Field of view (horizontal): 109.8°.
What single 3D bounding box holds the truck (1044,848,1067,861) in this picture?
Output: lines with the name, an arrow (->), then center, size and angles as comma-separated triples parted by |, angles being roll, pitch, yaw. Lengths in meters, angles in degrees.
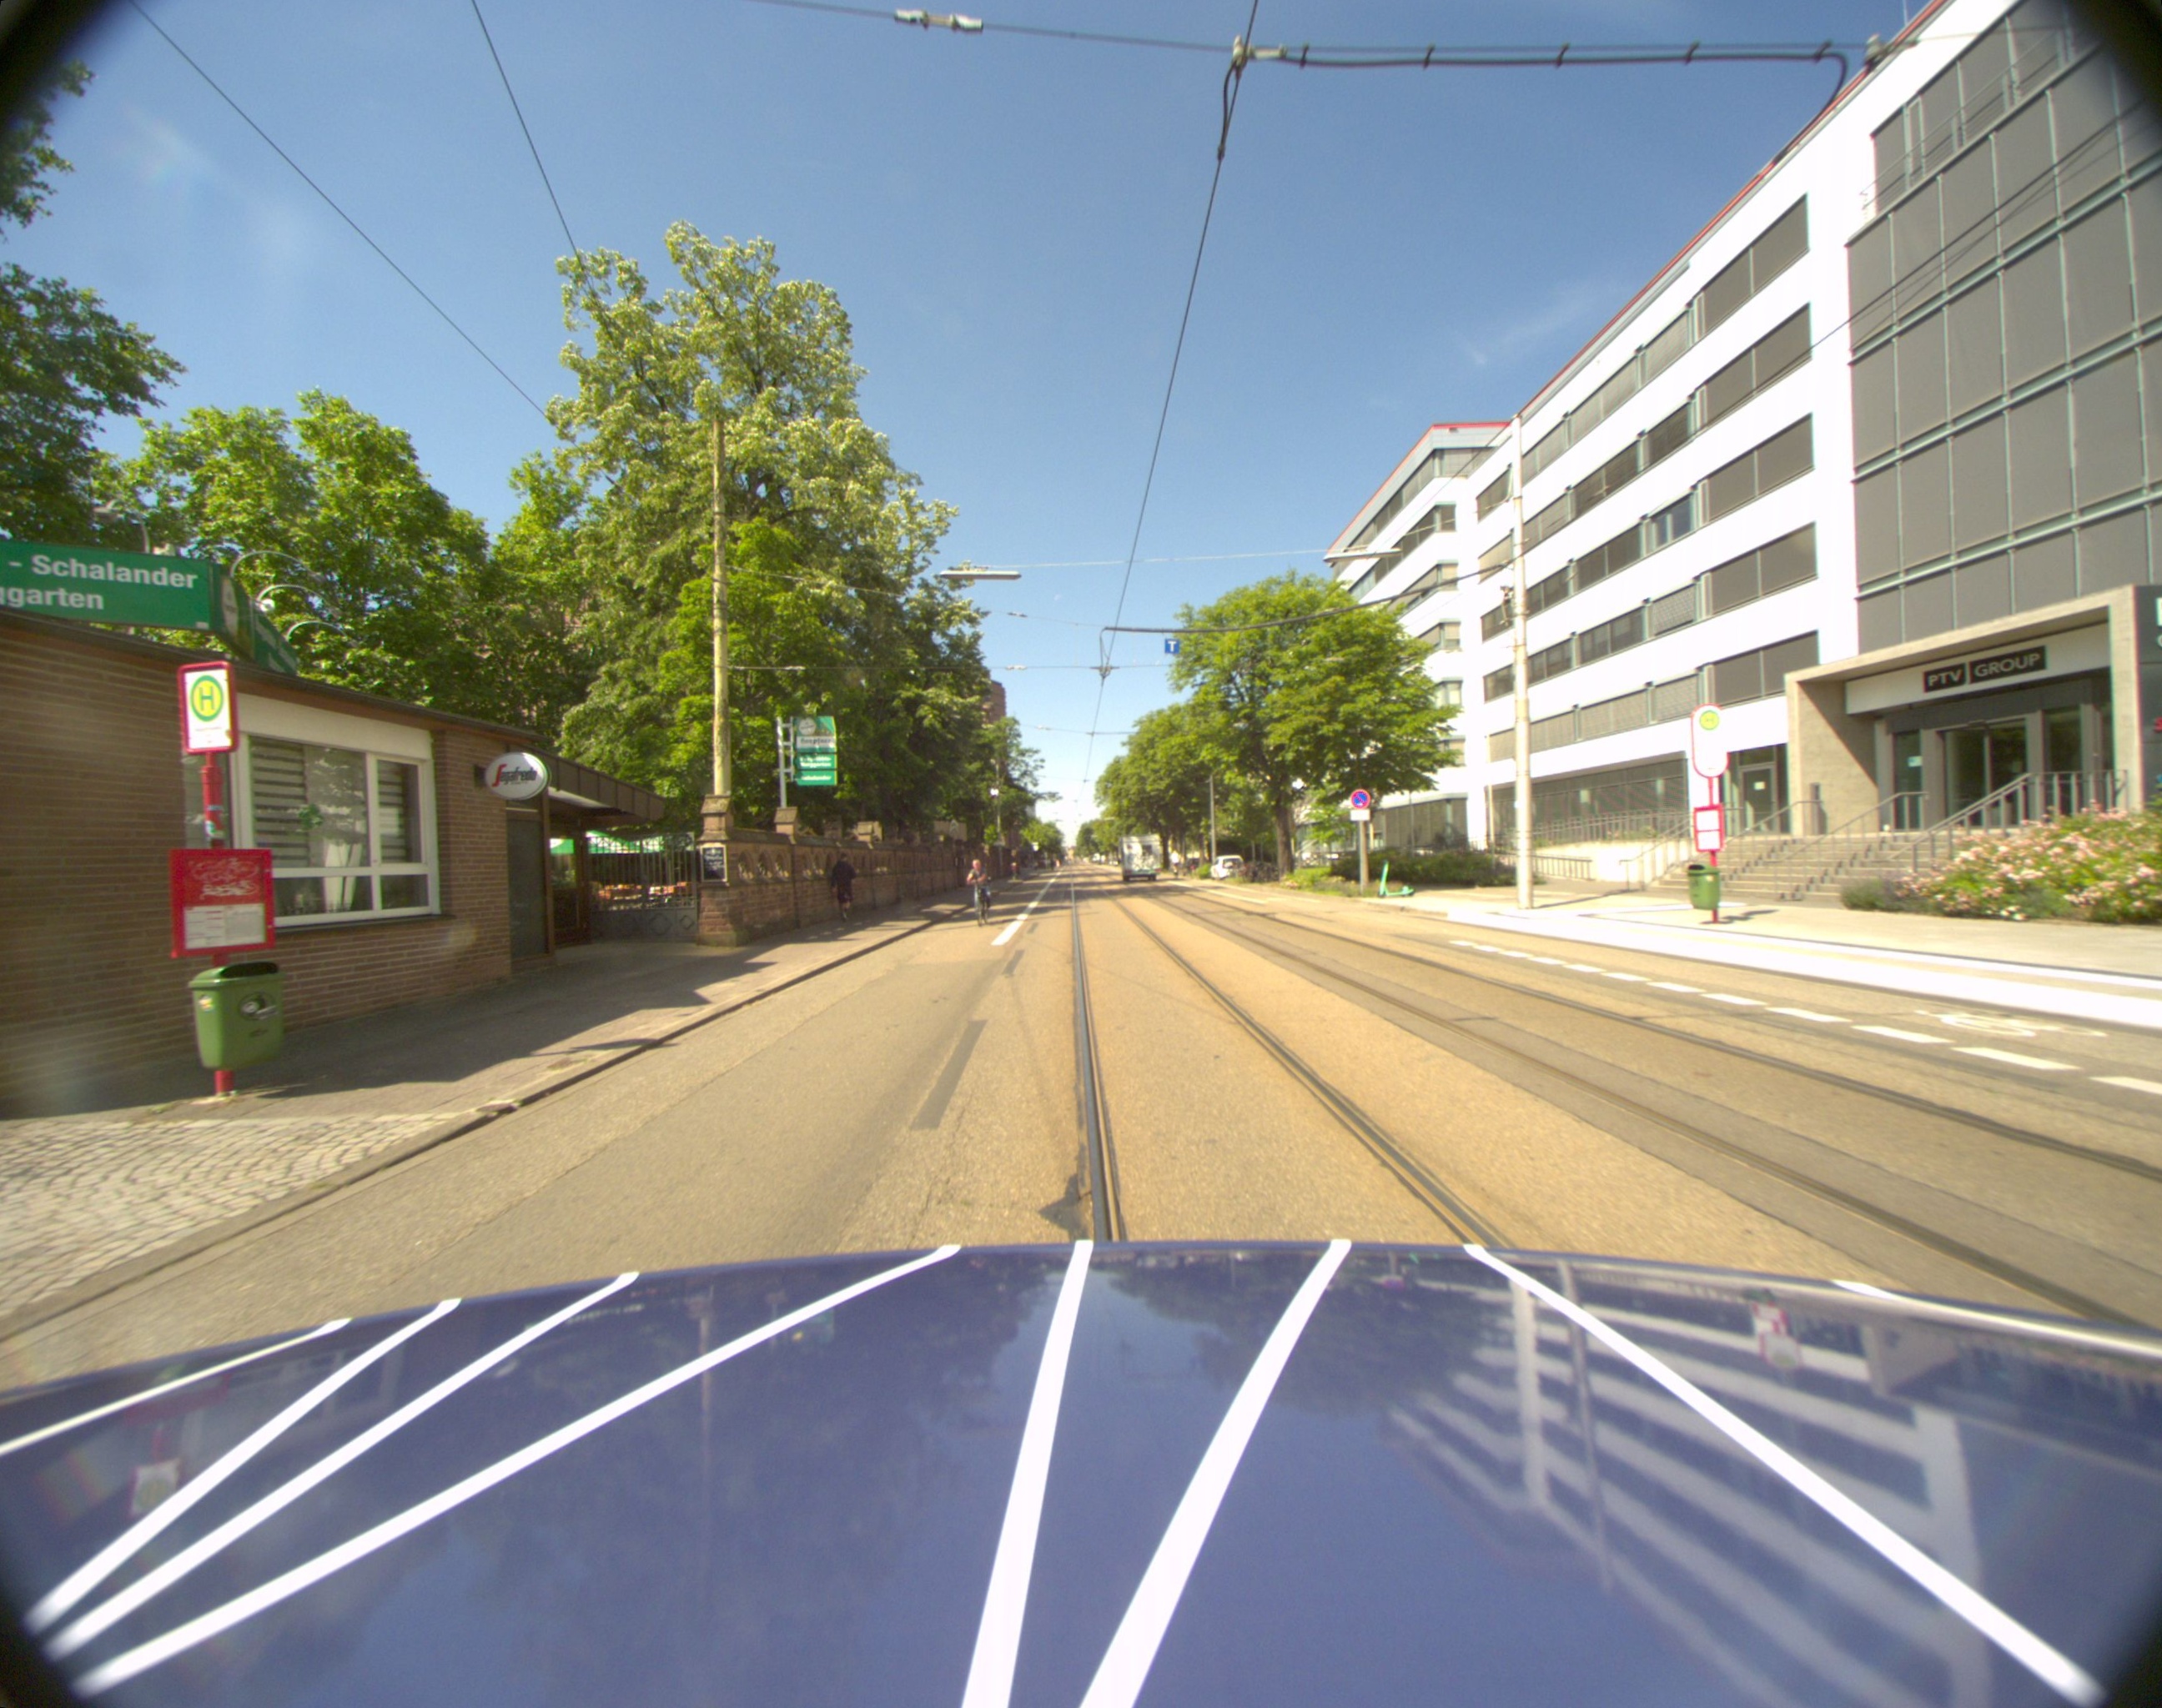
truck -> -7.541, 0.158, 226.450 | 2.816, 3.836, 10.015 | -2, 0, 22

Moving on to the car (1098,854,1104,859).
car -> 6.230, 0.791, 234.523 | 1.634, 1.560, 4.113 | -2, 0, 0

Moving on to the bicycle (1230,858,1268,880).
bicycle -> 9.131, 0.807, 41.291 | 1.853, 1.125, 0.680 | -2, 0, -1

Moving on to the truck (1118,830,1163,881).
truck -> 3.869, 0.081, 50.404 | 2.408, 3.090, 6.036 | -2, 0, 0

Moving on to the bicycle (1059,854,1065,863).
bicycle -> -3.673, 0.855, 148.228 | 0.999, 1.734, 3.163 | -4, 0, 0

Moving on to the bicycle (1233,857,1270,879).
bicycle -> 9.132, 0.736, 40.760 | 1.797, 1.080, 0.726 | -2, 0, -1

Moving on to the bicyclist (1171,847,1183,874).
bicyclist -> 6.702, 0.456, 52.950 | 0.637, 1.860, 1.024 | -2, 0, -1

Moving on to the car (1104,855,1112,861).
car -> 6.842, 0.922, 192.620 | 1.634, 1.463, 4.113 | -2, 0, 0

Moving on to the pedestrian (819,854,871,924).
pedestrian -> -6.316, 0.917, 20.420 | 0.979, 1.805, 1.185 | 2, 0, 0

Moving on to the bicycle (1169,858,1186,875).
bicycle -> 6.706, 0.878, 52.946 | 0.858, 1.103, 2.139 | -2, 0, -1

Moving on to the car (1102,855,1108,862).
car -> 6.691, 1.198, 213.689 | 1.634, 1.936, 4.113 | -2, 0, 0

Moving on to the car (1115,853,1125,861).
car -> 7.595, 0.625, 147.444 | 1.634, 1.463, 4.113 | -2, 0, 0

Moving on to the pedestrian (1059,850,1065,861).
pedestrian -> -3.677, 0.272, 148.068 | 1.106, 2.002, 1.166 | -4, 1, -1

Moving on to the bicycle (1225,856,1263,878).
bicycle -> 9.141, 0.738, 42.615 | 1.909, 1.163, 0.819 | -2, 0, -1

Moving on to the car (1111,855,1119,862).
car -> 7.662, 1.032, 172.636 | 1.634, 1.463, 4.113 | -2, 0, 0

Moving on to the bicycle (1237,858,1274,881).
bicycle -> 9.141, 0.807, 39.875 | 1.729, 1.080, 0.639 | -2, 0, -1

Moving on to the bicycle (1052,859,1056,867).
bicycle -> -4.192, 1.390, 118.353 | 0.593, 1.099, 2.054 | -2, 0, 0

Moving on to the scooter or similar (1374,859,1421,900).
scooter or similar -> 9.586, 0.761, 23.025 | 1.128, 1.159, 0.676 | -2, 1, 2

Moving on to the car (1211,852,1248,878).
car -> 9.104, 0.643, 46.772 | 1.634, 1.463, 3.630 | -2, 0, 1

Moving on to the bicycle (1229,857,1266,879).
bicycle -> 9.175, 0.757, 41.969 | 1.877, 1.135, 0.686 | -2, 0, -1

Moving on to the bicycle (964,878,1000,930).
bicycle -> -2.585, 1.279, 19.939 | 0.611, 1.190, 2.123 | -5, 0, -1

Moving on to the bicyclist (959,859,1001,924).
bicyclist -> -2.606, 0.953, 19.741 | 0.906, 1.586, 0.964 | -2, 0, -1

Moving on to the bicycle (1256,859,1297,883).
bicycle -> 9.316, 0.806, 36.264 | 1.729, 1.080, 0.789 | -2, 0, -1

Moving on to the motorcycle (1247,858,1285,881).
motorcycle -> 9.358, 0.788, 38.477 | 1.729, 1.080, 0.658 | -2, 0, -1

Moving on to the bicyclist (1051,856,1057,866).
bicyclist -> -4.181, 1.055, 118.301 | 0.742, 1.522, 0.947 | -2, 0, 0

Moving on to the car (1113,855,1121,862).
car -> 7.579, 0.882, 159.991 | 1.634, 1.463, 4.113 | -2, 0, 0

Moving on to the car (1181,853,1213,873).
car -> 8.947, 0.693, 59.124 | 1.634, 1.474, 4.272 | -2, 0, -2
